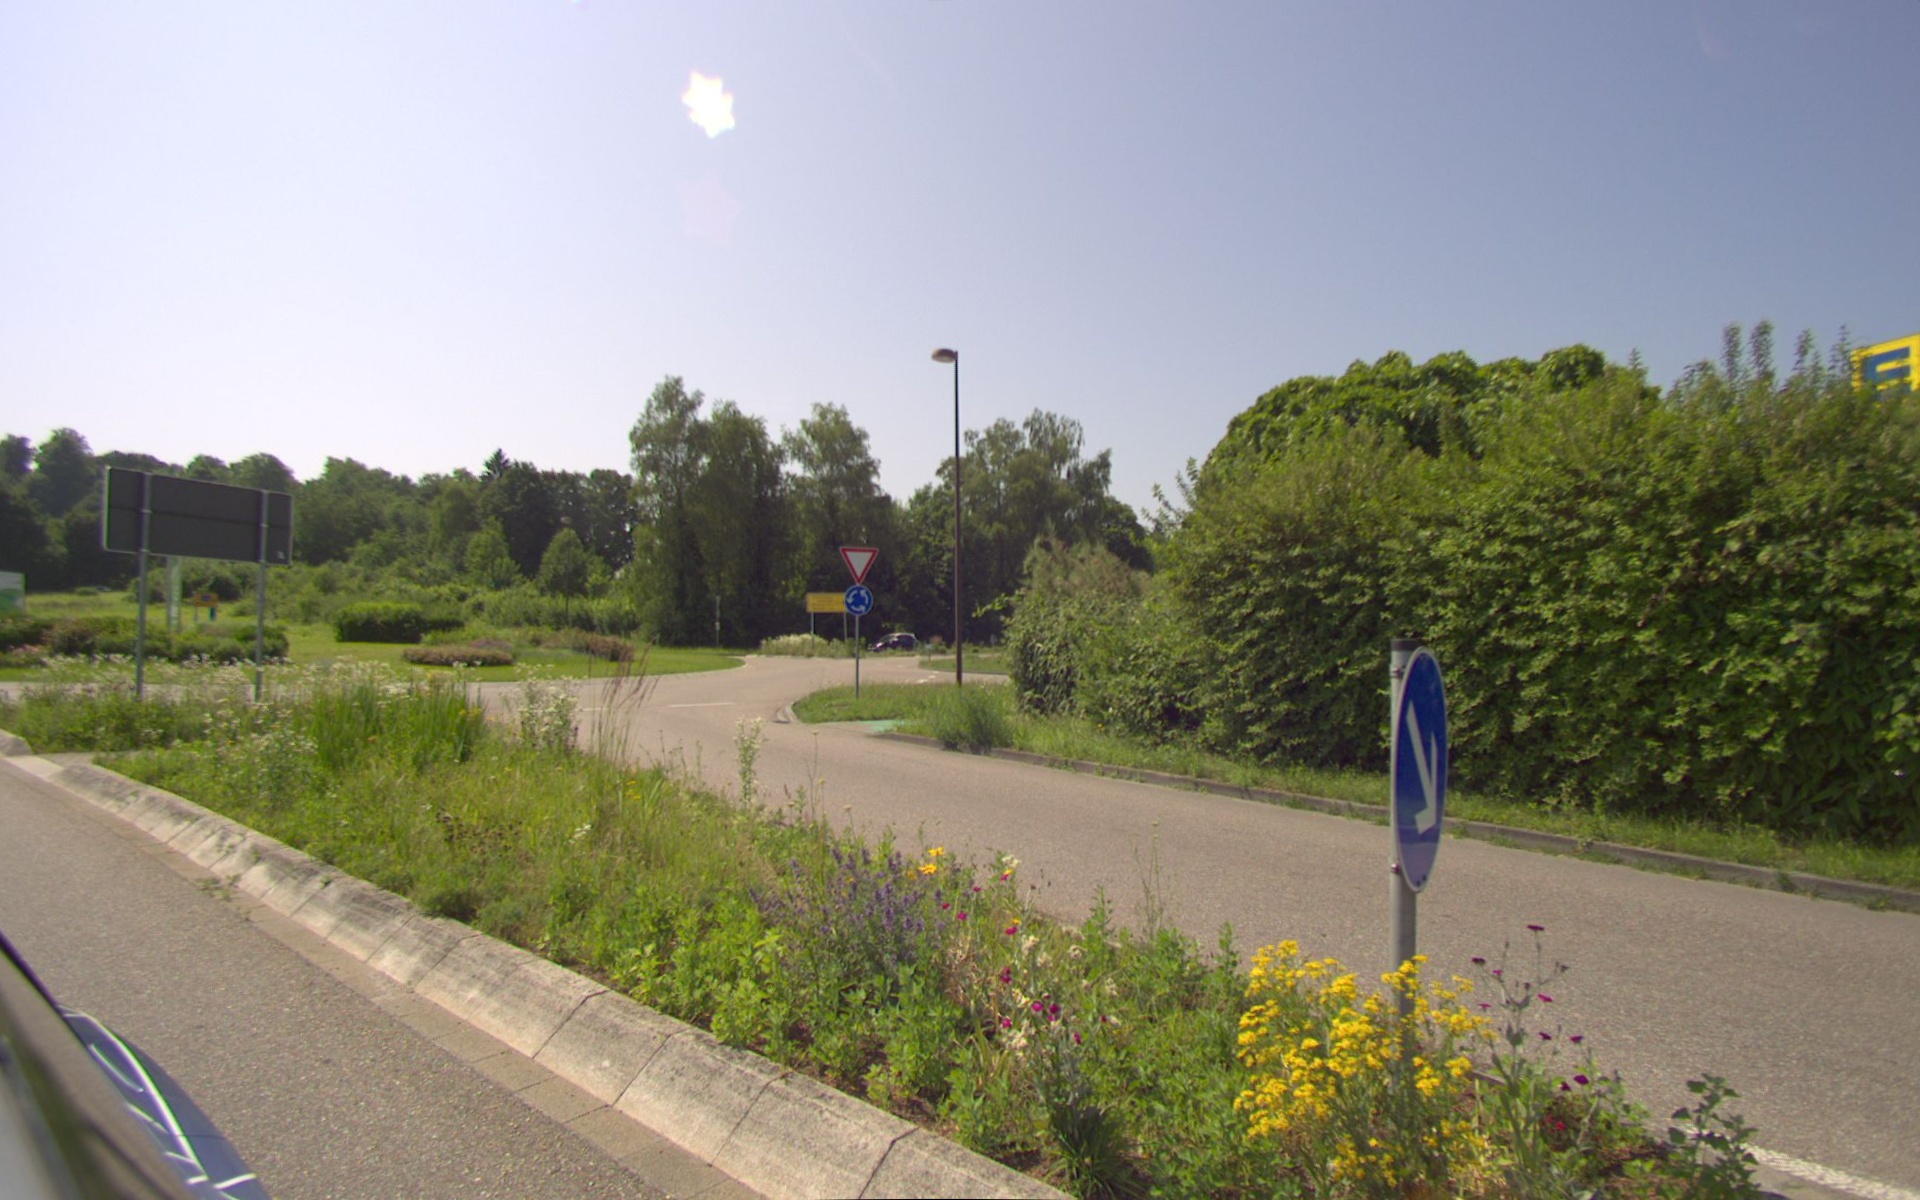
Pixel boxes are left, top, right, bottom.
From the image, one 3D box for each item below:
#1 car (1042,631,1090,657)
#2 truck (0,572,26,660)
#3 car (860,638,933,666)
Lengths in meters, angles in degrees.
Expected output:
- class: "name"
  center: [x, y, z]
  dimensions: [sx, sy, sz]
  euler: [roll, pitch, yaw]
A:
- class: "car"
  center: [7.016, 2.867, 66.762]
  dimensions: [1.783, 1.564, 3.962]
  euler: [0, -1, 28]
- class: "truck"
  center: [-42.381, 0.677, 41.400]
  dimensions: [2.850, 3.858, 9.053]
  euler: [0, 0, -20]
- class: "car"
  center: [-4.094, 3.345, 65.640]
  dimensions: [2.030, 1.665, 4.571]
  euler: [-1, -1, 44]
